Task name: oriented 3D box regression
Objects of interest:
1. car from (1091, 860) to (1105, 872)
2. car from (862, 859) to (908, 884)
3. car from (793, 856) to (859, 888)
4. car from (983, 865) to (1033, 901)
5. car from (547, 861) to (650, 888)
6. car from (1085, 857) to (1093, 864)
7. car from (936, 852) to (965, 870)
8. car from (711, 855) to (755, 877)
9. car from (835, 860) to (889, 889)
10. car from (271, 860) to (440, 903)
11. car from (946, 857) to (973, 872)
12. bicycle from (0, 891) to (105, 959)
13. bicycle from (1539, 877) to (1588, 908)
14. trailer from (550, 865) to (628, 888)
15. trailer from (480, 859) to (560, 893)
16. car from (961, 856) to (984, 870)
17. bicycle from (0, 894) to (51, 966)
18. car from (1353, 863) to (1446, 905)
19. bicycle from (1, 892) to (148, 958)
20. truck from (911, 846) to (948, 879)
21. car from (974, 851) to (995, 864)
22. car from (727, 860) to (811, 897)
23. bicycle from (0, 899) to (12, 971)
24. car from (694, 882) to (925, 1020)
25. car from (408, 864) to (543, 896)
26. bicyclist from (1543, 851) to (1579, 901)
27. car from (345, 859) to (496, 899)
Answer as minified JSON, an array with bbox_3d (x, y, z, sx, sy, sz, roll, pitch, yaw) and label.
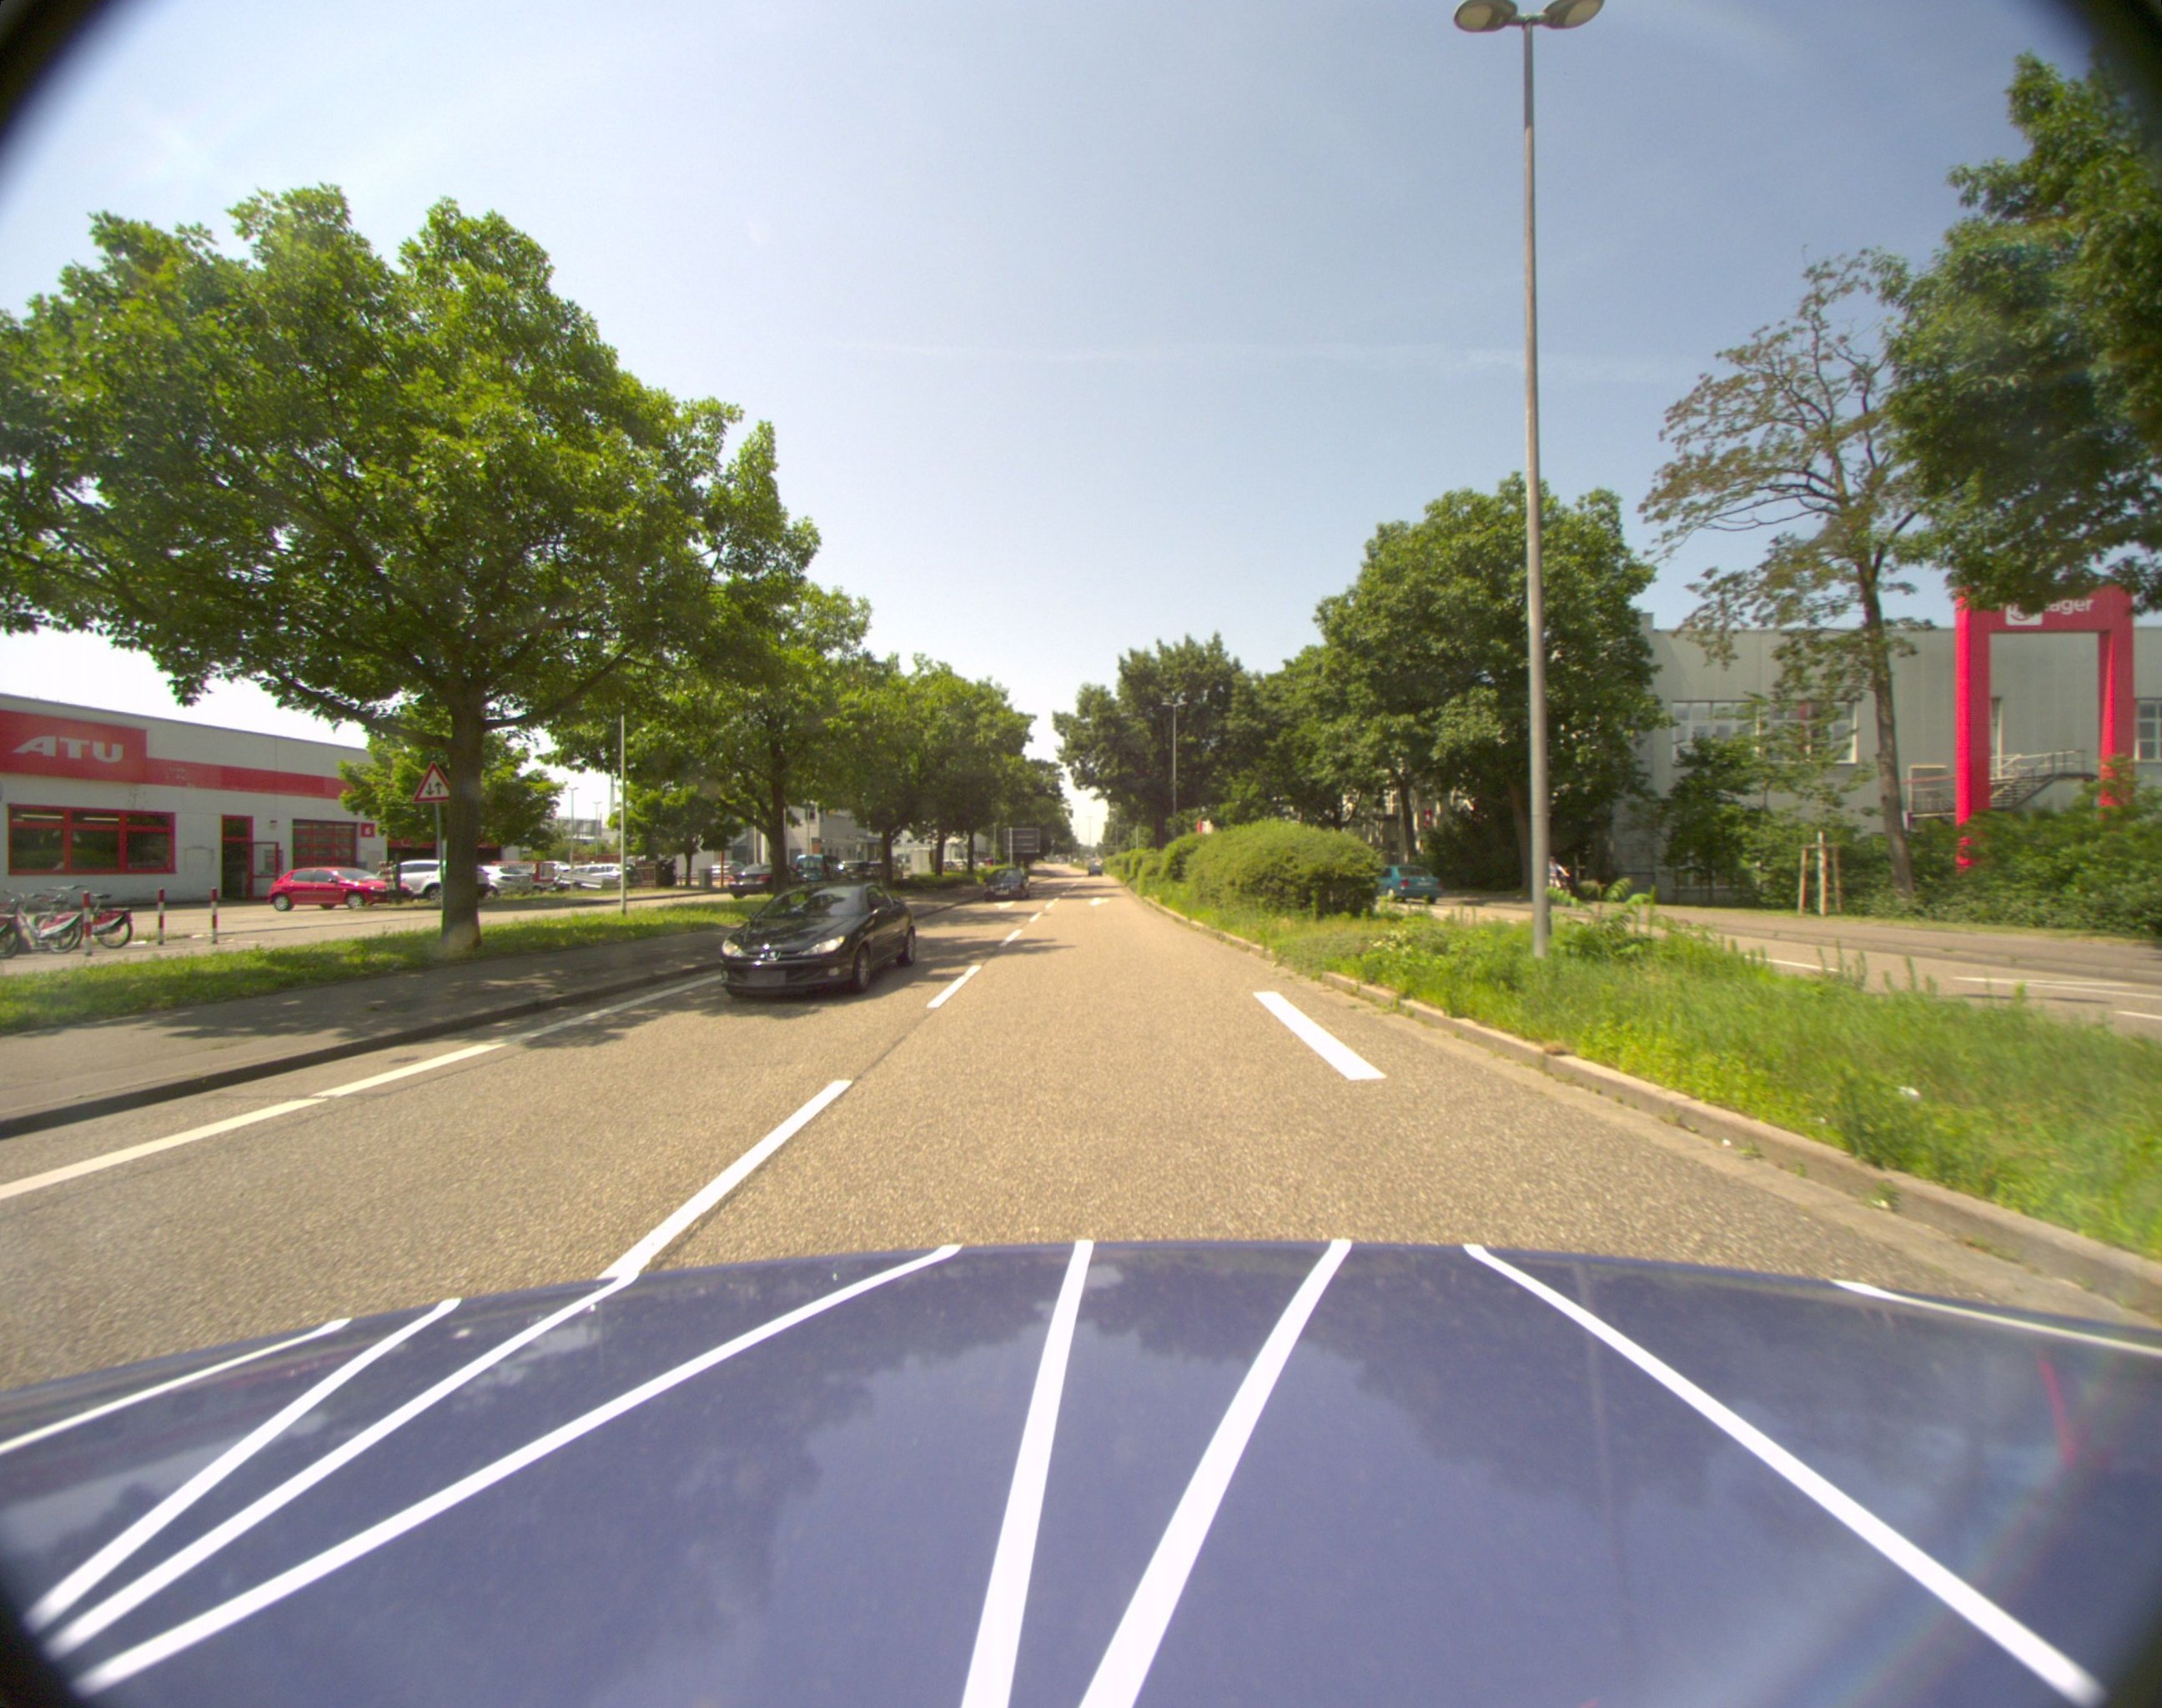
[{"bbox_3d":[2.017,1.414,92.457,1.642,1.395,4.000,0,0,1],"label":"car"},{"bbox_3d":[-12.338,1.090,48.110,1.719,1.504,4.001,0,0,2],"label":"car"},{"bbox_3d":[-12.296,0.824,36.931,1.719,1.458,4.001,0,0,2],"label":"car"},{"bbox_3d":[-3.070,1.205,32.688,1.642,1.363,4.145,-2,0,1],"label":"car"},{"bbox_3d":[-23.863,0.987,37.698,3.997,1.293,1.689,0,0,-2],"label":"car"},{"bbox_3d":[2.162,1.699,194.382,1.998,1.692,4.000,0,0,1],"label":"car"},{"bbox_3d":[-11.254,0.600,65.877,1.719,1.458,4.001,0,0,2],"label":"car"},{"bbox_3d":[-25.657,0.883,56.126,1.759,1.586,3.998,0,0,-5],"label":"car"},{"bbox_3d":[-12.104,1.097,42.269,1.719,1.511,4.001,0,0,2],"label":"car"},{"bbox_3d":[-24.543,0.904,25.813,3.997,1.394,1.747,0,0,-1],"label":"car"},{"bbox_3d":[-11.468,0.974,71.987,1.719,1.458,4.001,0,0,2],"label":"car"},{"bbox_3d":[-18.017,1.211,13.009,1.784,1.117,0.514,0,0,-5],"label":"bicycle"},{"bbox_3d":[15.961,1.259,25.173,0.618,0.963,1.660,0,0,2],"label":"bicycle"},{"bbox_3d":[-23.045,1.054,35.647,2.642,1.046,1.578,0,0,-1],"label":"trailer"},{"bbox_3d":[-26.187,1.010,35.506,2.642,1.518,1.415,0,0,-1],"label":"trailer"},{"bbox_3d":[-11.517,0.896,80.498,1.719,1.458,4.001,0,0,2],"label":"car"},{"bbox_3d":[-17.991,1.231,12.284,1.784,1.117,0.514,0,0,-5],"label":"bicycle"},{"bbox_3d":[12.325,1.114,29.738,1.690,1.379,4.588,2,0,0],"label":"car"},{"bbox_3d":[-18.034,1.258,13.644,1.784,1.117,0.514,0,0,-5],"label":"bicycle"},{"bbox_3d":[-11.846,0.653,59.820,1.904,2.552,4.001,0,0,3],"label":"truck"},{"bbox_3d":[-10.870,0.403,86.072,1.719,1.458,4.001,0,0,2],"label":"car"},{"bbox_3d":[-12.545,0.943,30.806,1.642,1.363,4.001,0,0,2],"label":"car"},{"bbox_3d":[-17.742,1.266,11.657,1.784,1.117,0.514,0,0,-5],"label":"bicycle"},{"bbox_3d":[-3.443,1.159,10.476,1.642,1.336,4.000,-2,0,1],"label":"car"},{"bbox_3d":[-24.363,1.027,30.660,3.997,1.201,1.747,0,0,-2],"label":"car"},{"bbox_3d":[15.962,0.718,25.285,0.609,1.621,0.923,0,1,2],"label":"bicyclist"},{"bbox_3d":[-24.408,0.899,28.182,3.997,1.394,1.747,0,0,-2],"label":"car"}]
